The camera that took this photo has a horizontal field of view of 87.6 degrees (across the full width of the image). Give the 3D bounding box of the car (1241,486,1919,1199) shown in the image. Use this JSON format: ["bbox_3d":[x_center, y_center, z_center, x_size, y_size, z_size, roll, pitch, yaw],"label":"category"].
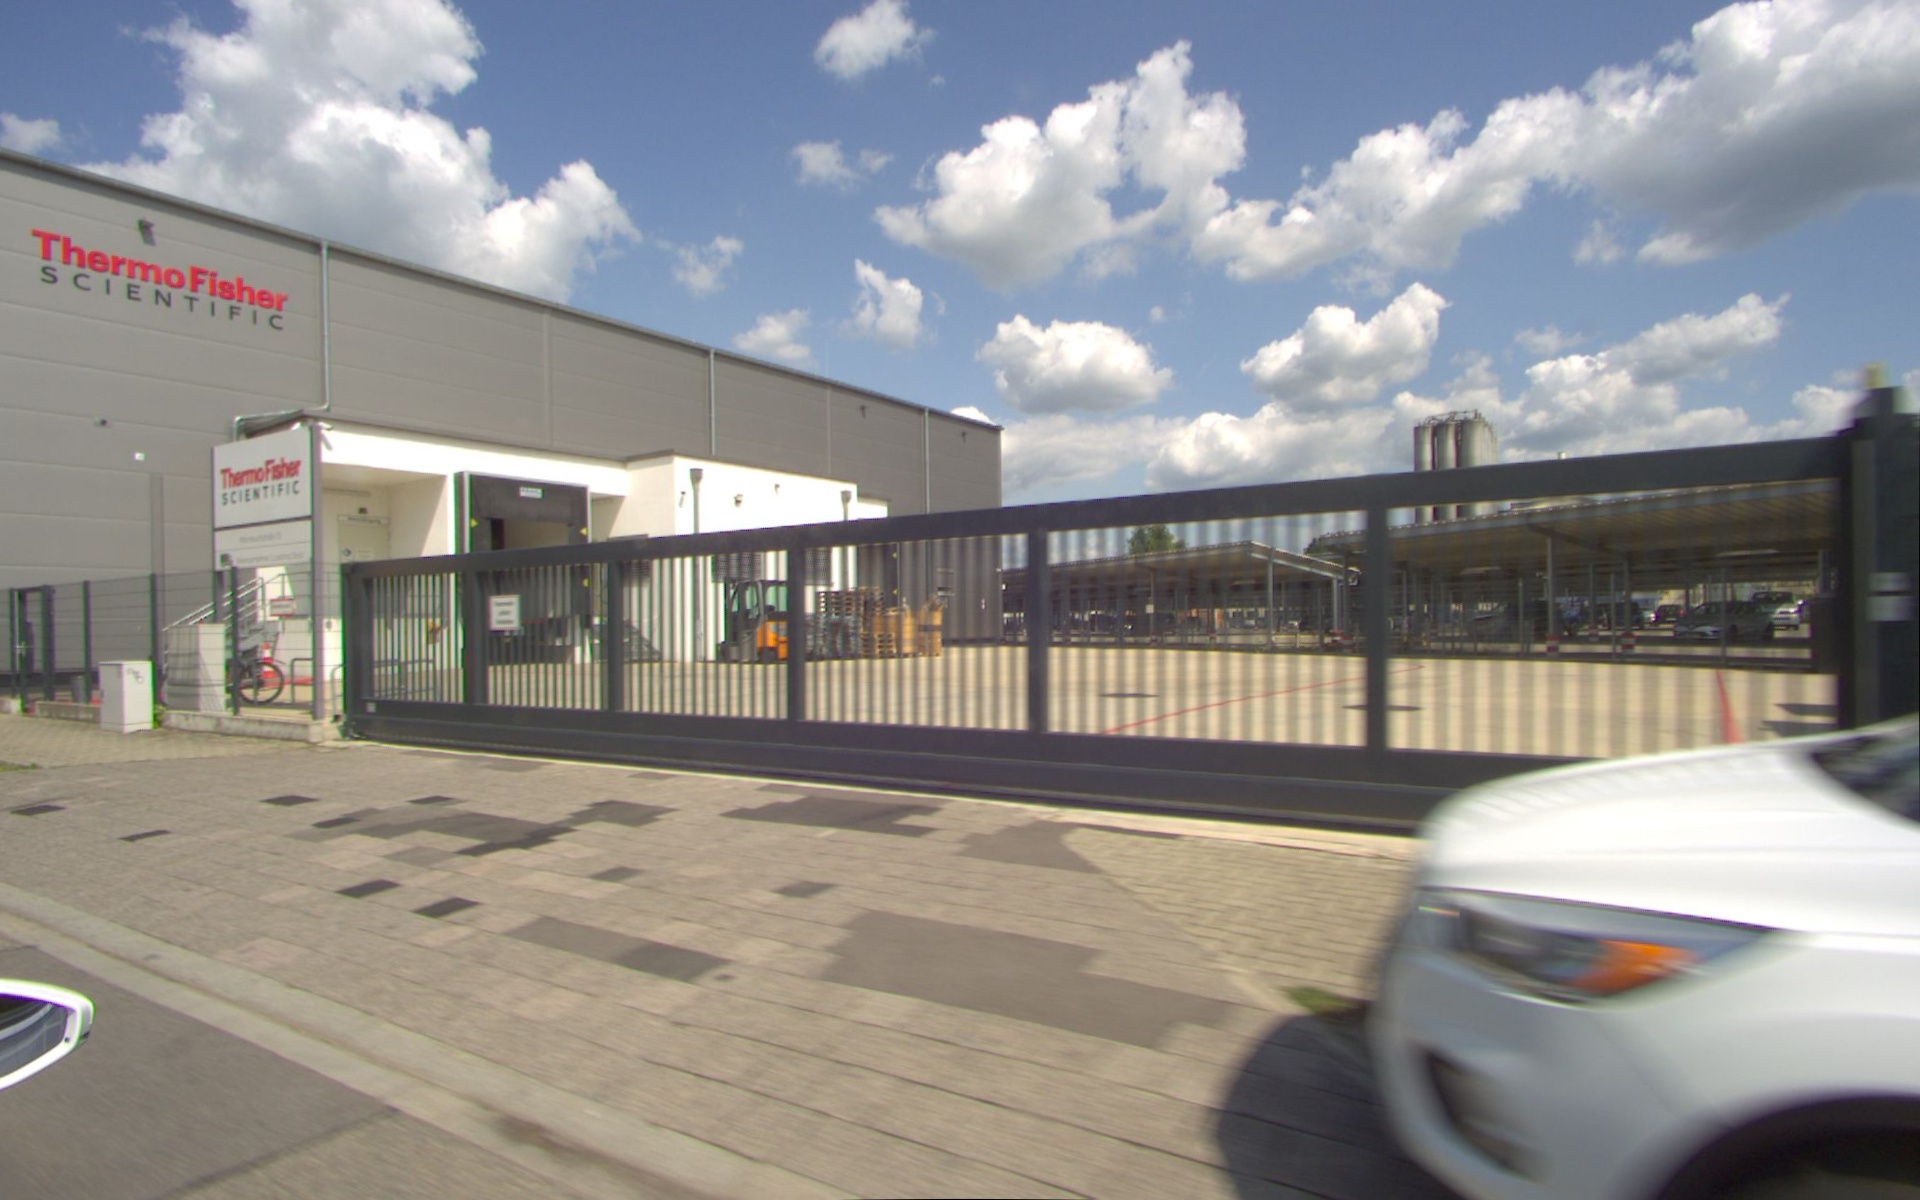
[{"bbox_3d":[3.013,0.637,1.514,4.613,1.716,1.930,-2,1,32],"label":"car"}]

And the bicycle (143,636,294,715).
[{"bbox_3d":[-12.258,1.215,16.625,0.451,1.158,1.944,-1,1,34],"label":"bicycle"}]
